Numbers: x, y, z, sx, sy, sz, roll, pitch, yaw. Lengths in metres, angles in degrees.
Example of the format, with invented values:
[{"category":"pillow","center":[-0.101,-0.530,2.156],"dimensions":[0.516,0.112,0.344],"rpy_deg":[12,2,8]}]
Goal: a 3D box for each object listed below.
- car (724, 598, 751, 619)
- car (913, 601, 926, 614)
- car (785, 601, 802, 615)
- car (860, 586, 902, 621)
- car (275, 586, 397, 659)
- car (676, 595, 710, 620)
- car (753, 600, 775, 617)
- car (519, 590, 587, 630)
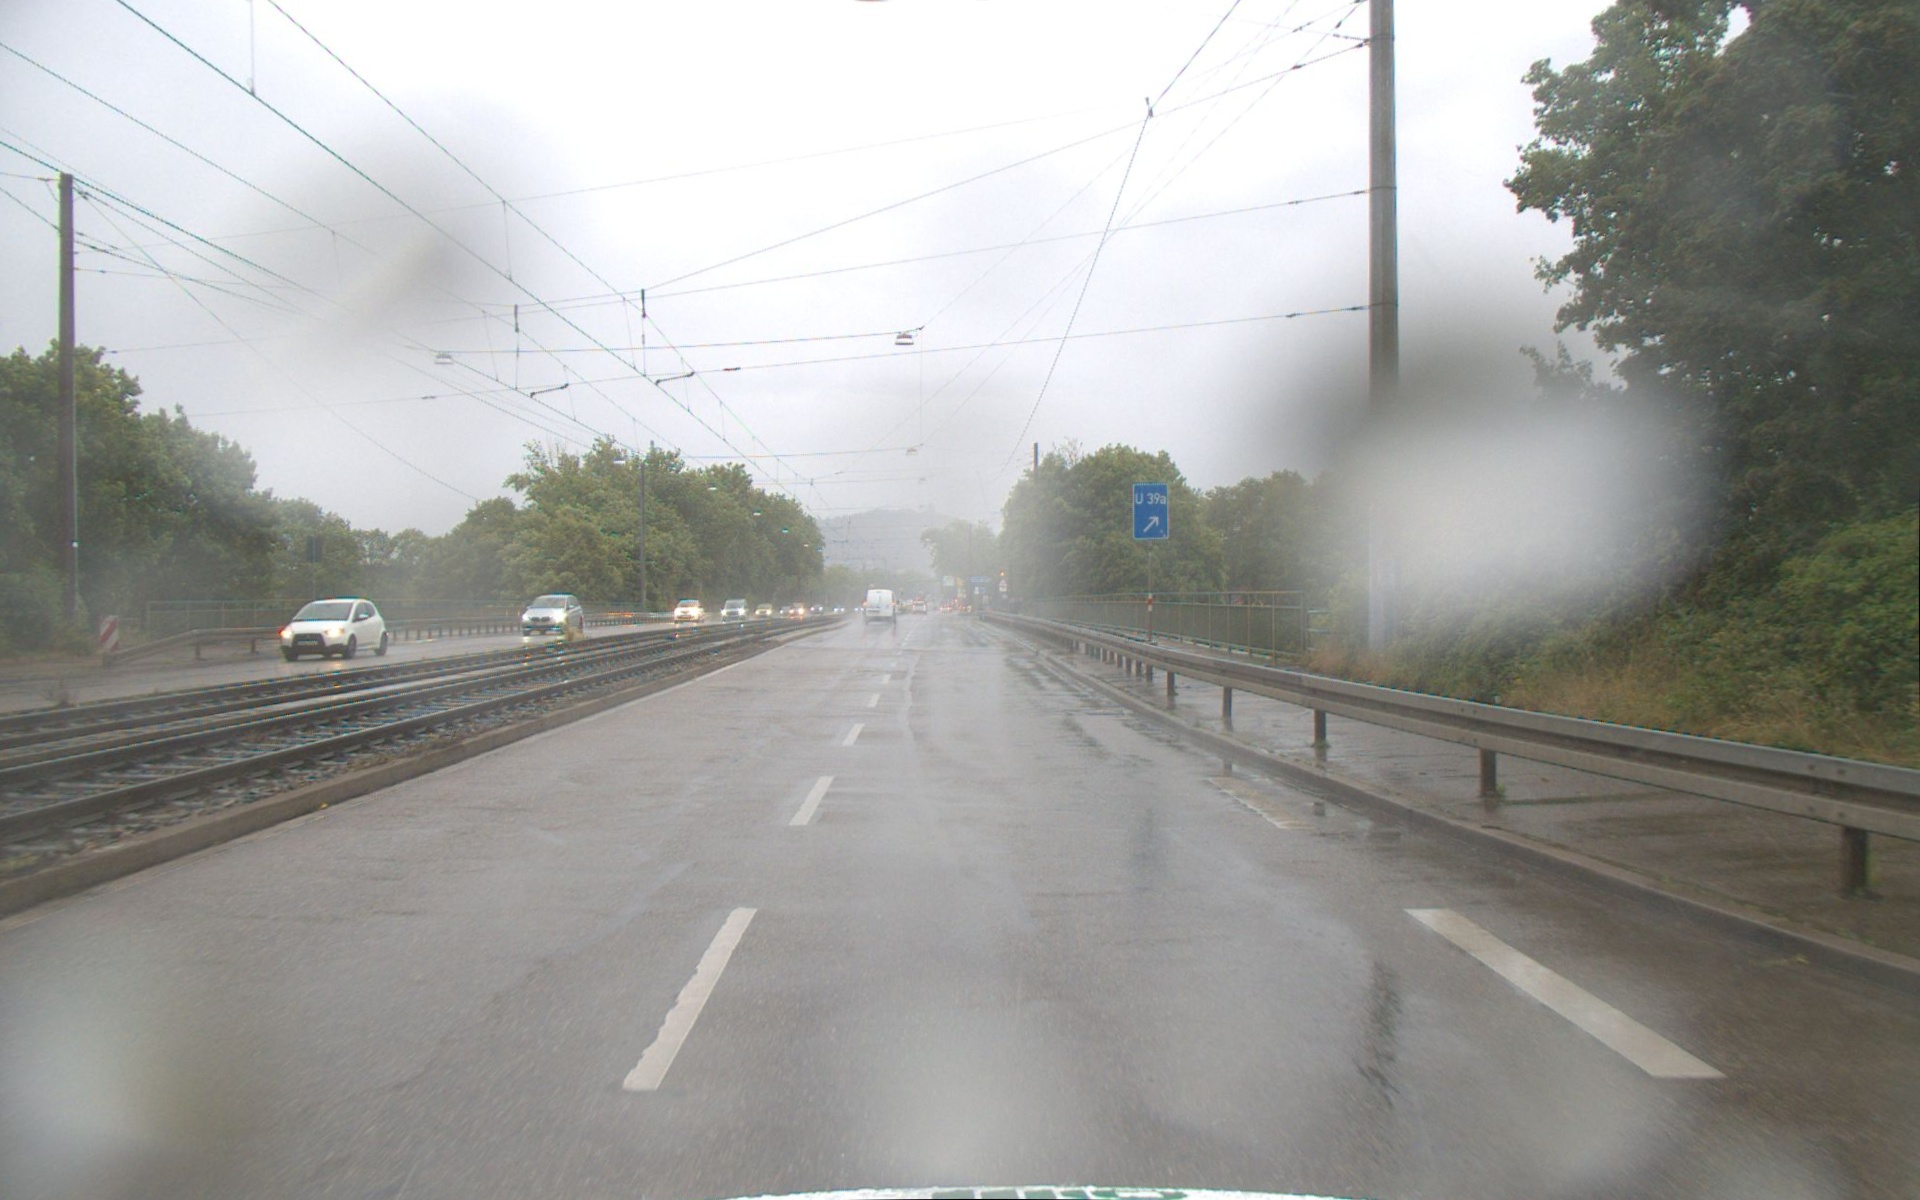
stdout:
[{"category":"car","center":[-17.705,0.667,131.899],"dimensions":[1.708,1.534,3.699],"rpy_deg":[2,1,-1]},{"category":"car","center":[-5.253,0.914,214.332],"dimensions":[1.708,1.534,3.699],"rpy_deg":[2,1,-1]},{"category":"car","center":[-19.800,0.989,197.333],"dimensions":[1.708,1.534,3.699],"rpy_deg":[2,1,-1]},{"category":"car","center":[-4.096,0.170,86.434],"dimensions":[1.948,1.713,3.740],"rpy_deg":[2,1,0]},{"category":"car","center":[-16.204,0.546,43.158],"dimensions":[1.719,1.741,3.999],"rpy_deg":[2,1,-2]},{"category":"car","center":[-17.808,0.501,110.477],"dimensions":[1.708,1.534,3.699],"rpy_deg":[2,1,-1]},{"category":"car","center":[-18.670,0.800,157.567],"dimensions":[1.708,1.534,3.699],"rpy_deg":[2,1,-1]},{"category":"car","center":[-16.819,0.391,68.534],"dimensions":[1.761,1.478,4.194],"rpy_deg":[2,1,0]}]
